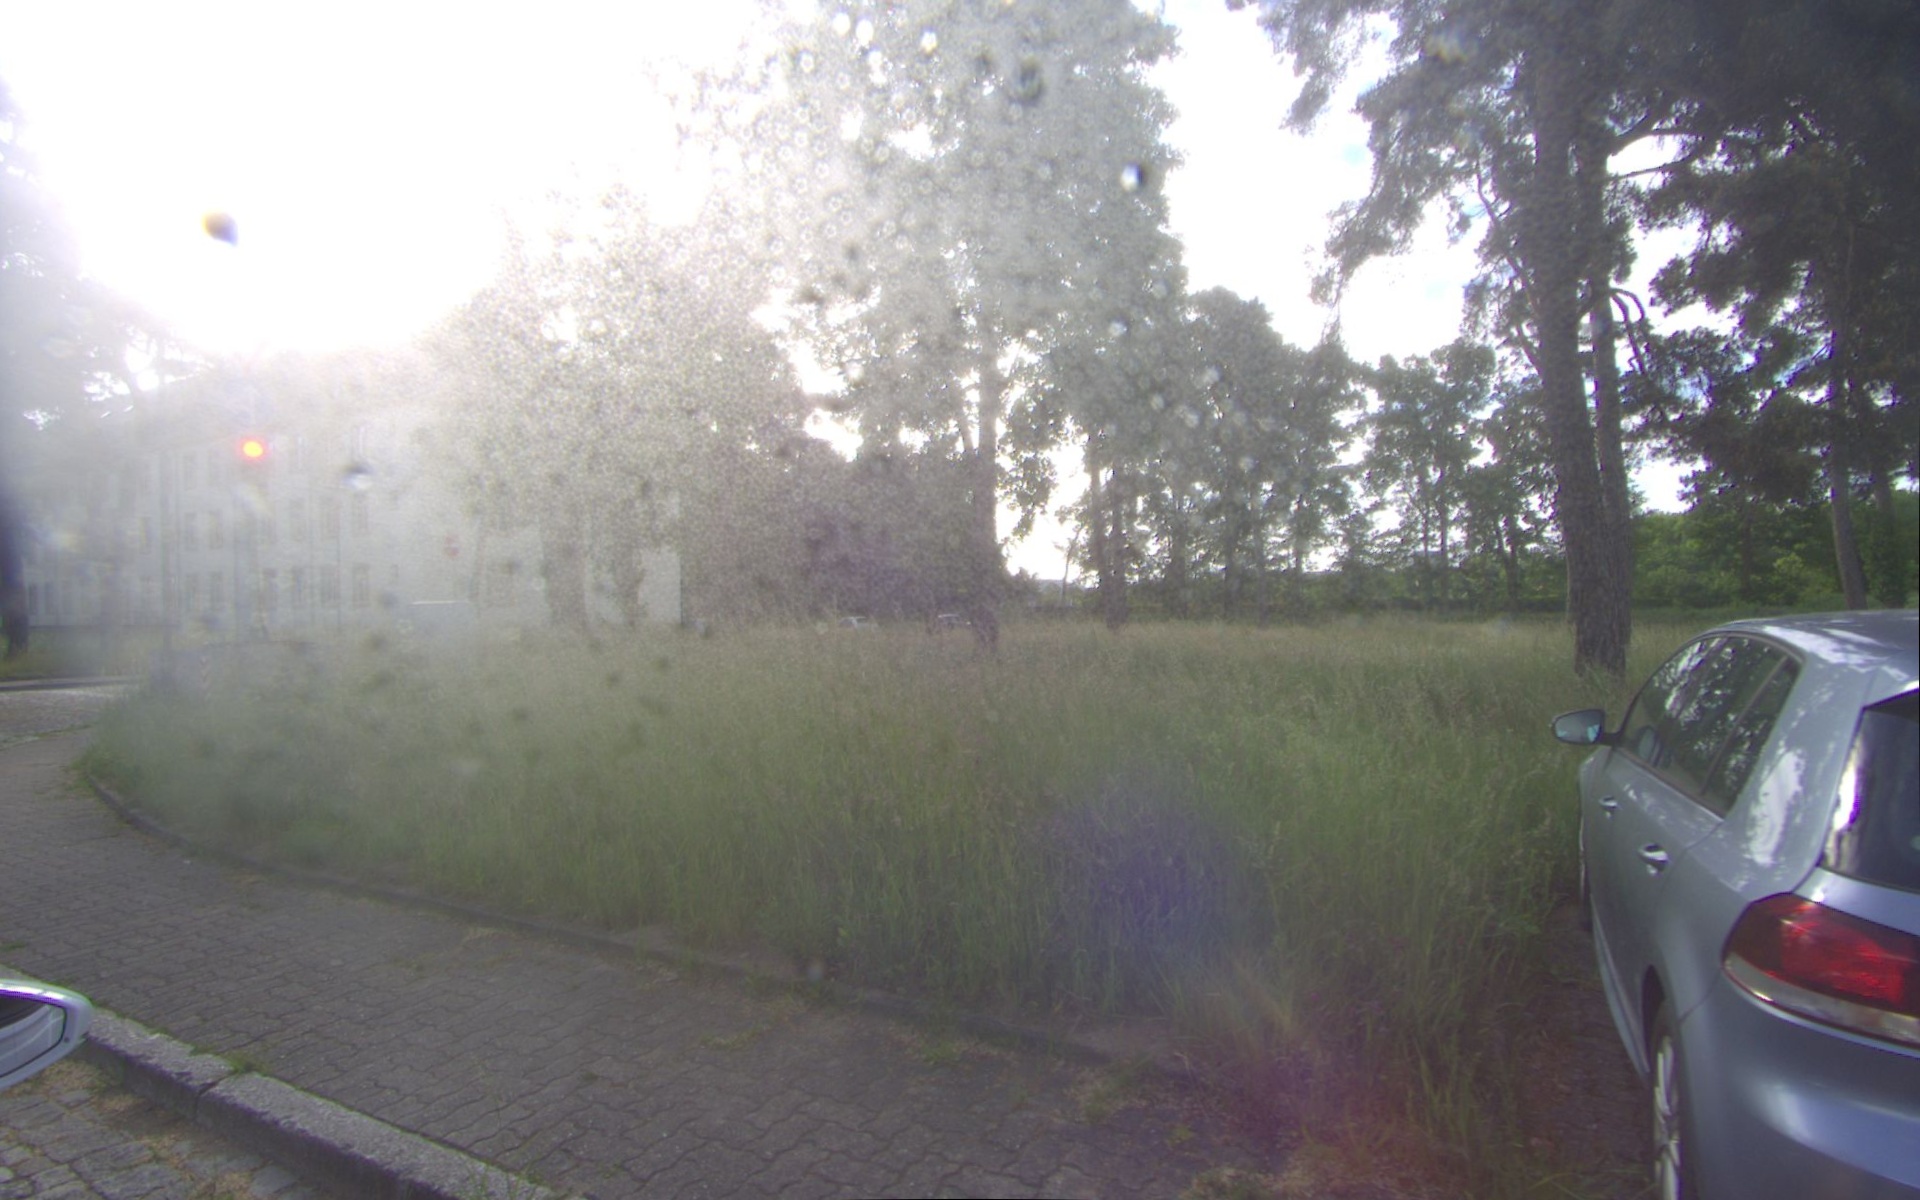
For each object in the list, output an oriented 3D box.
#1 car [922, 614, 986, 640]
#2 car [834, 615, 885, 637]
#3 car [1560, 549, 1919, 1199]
[{"bbox_3d":[-0.391,1.714,64.551,3.923,1.622,1.999,0,0,-7],"label":"car"},{"bbox_3d":[-6.944,1.855,69.695,1.540,1.415,3.984,-1,-3,30],"label":"car"},{"bbox_3d":[2.808,0.685,2.886,1.616,1.490,3.840,0,-1,28],"label":"car"}]
